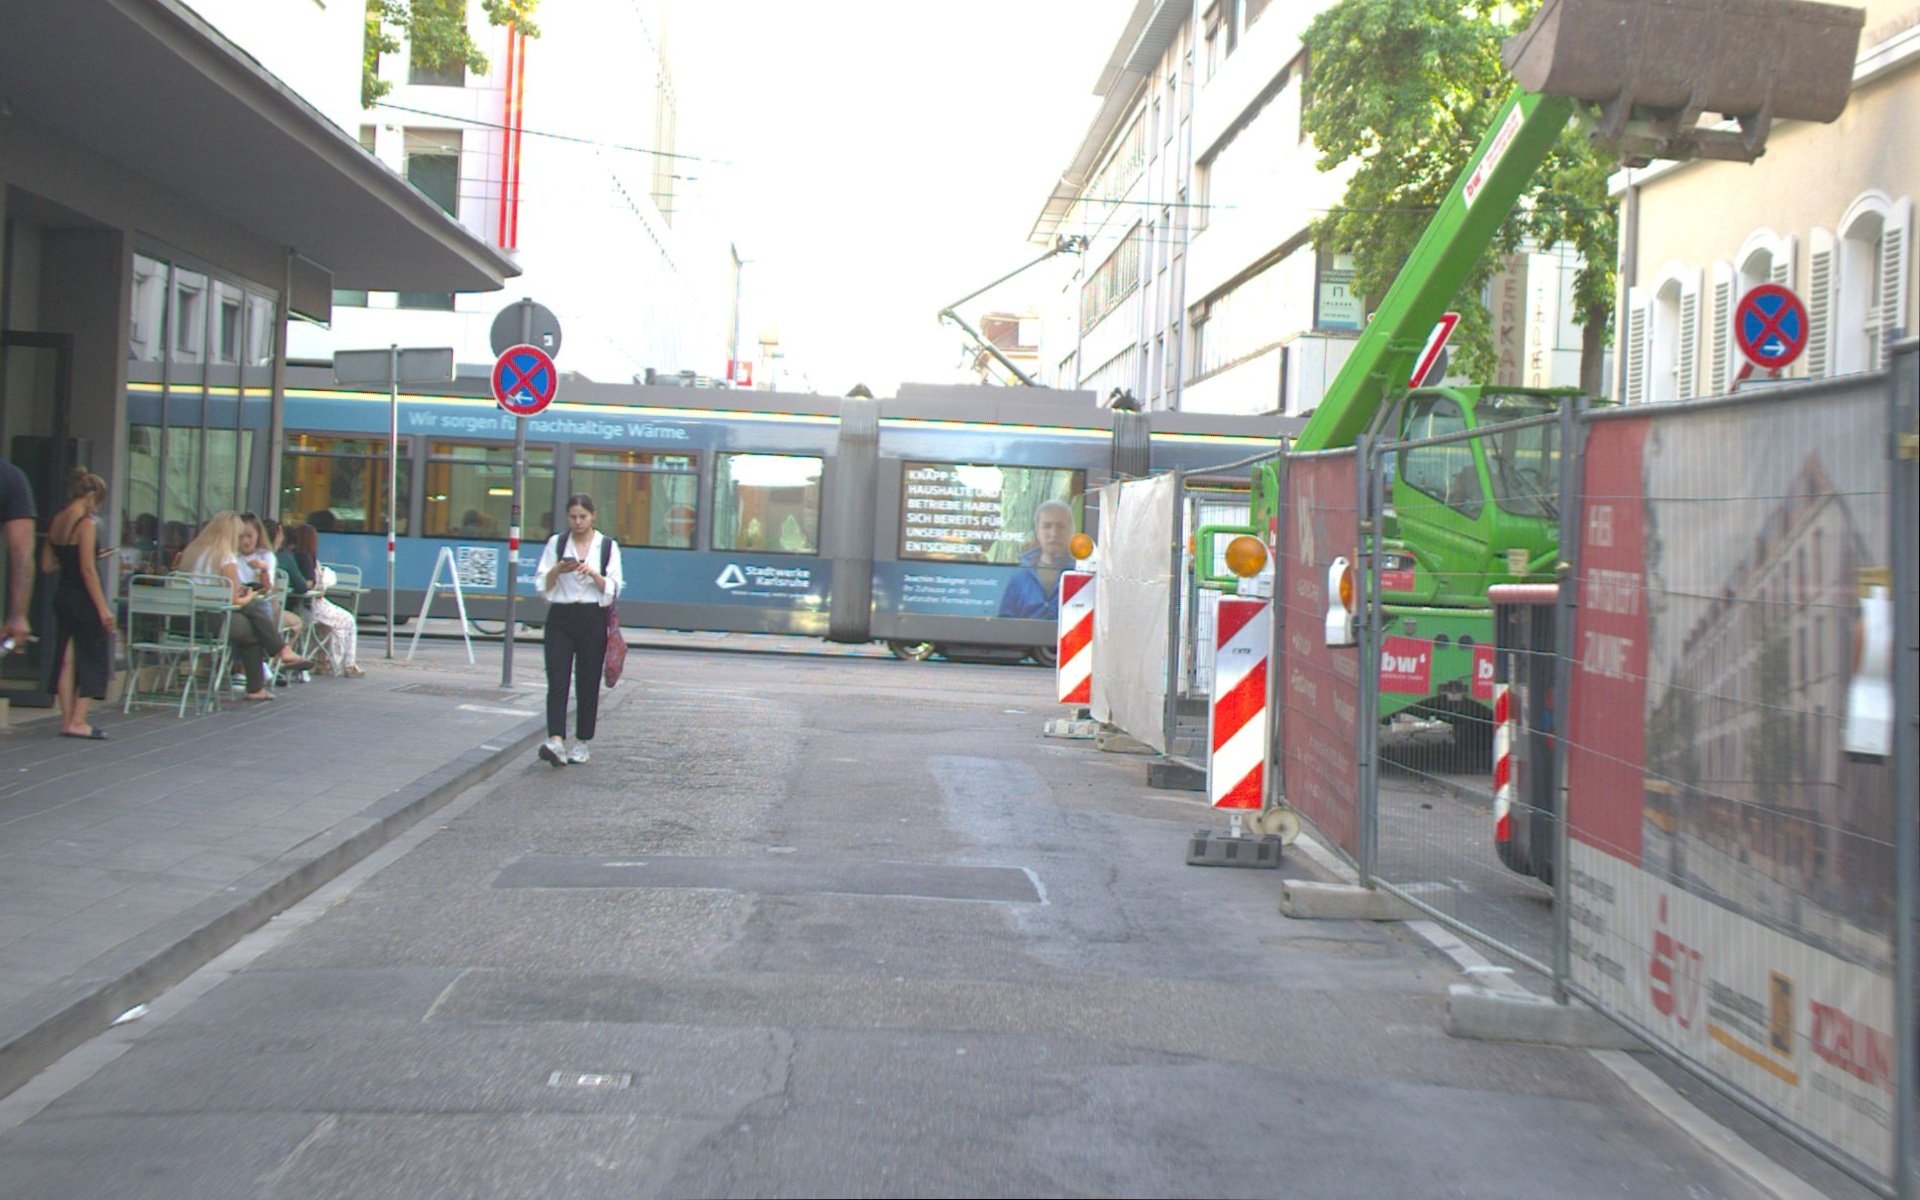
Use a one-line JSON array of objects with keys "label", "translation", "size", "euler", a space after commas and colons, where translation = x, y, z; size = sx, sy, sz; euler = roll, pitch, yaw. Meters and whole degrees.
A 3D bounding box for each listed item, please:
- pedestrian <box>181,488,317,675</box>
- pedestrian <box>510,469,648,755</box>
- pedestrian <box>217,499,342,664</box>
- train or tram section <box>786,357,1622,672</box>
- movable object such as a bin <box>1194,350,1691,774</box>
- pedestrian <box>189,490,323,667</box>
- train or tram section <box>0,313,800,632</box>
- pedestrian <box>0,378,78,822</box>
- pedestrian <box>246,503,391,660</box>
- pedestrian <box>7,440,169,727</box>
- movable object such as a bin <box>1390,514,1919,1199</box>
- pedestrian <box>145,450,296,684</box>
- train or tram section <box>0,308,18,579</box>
[{"label": "pedestrian", "translation": [-5.128, -0.140, 24.757], "size": [0.704, 1.281, 0.861], "euler": [3, 1, -26]}, {"label": "pedestrian", "translation": [-2.358, 0.063, 21.326], "size": [0.756, 1.733, 0.785], "euler": [1, 1, 0]}, {"label": "pedestrian", "translation": [-5.268, -0.148, 26.651], "size": [0.704, 1.191, 0.691], "euler": [6, 1, 1]}, {"label": "train or tram section", "translation": [3.012, -1.079, 44.430], "size": [10.335, 3.511, 3.027], "euler": [2, 1, -2]}, {"label": "movable object such as a bin", "translation": [3.551, -0.332, 26.703], "size": [2.635, 2.862, 5.566], "euler": [2, 1, -4]}, {"label": "pedestrian", "translation": [-5.271, -0.164, 25.785], "size": [0.704, 1.235, 0.778], "euler": [6, 1, 2]}, {"label": "train or tram section", "translation": [-7.333, -1.596, 44.101], "size": [10.367, 3.512, 3.017], "euler": [3, 0, -2]}, {"label": "pedestrian", "translation": [-4.158, -0.029, 14.225], "size": [0.704, 1.776, 0.933], "euler": [3, 1, -2]}, {"label": "pedestrian", "translation": [-5.216, -0.145, 27.951], "size": [0.705, 1.215, 0.840], "euler": [4, 1, 36]}, {"label": "pedestrian", "translation": [-4.951, -0.098, 19.505], "size": [0.656, 1.564, 0.638], "euler": [4, 1, -27]}, {"label": "movable object such as a bin", "translation": [3.631, 0.603, 12.127], "size": [2.890, 1.659, 7.295], "euler": [2, 2, -3]}, {"label": "pedestrian", "translation": [-5.101, -0.231, 23.747], "size": [0.704, 1.542, 0.861], "euler": [4, 1, 6]}, {"label": "train or tram section", "translation": [-17.889, -2.257, 43.809], "size": [10.808, 3.511, 3.013], "euler": [3, 0, -1]}]
